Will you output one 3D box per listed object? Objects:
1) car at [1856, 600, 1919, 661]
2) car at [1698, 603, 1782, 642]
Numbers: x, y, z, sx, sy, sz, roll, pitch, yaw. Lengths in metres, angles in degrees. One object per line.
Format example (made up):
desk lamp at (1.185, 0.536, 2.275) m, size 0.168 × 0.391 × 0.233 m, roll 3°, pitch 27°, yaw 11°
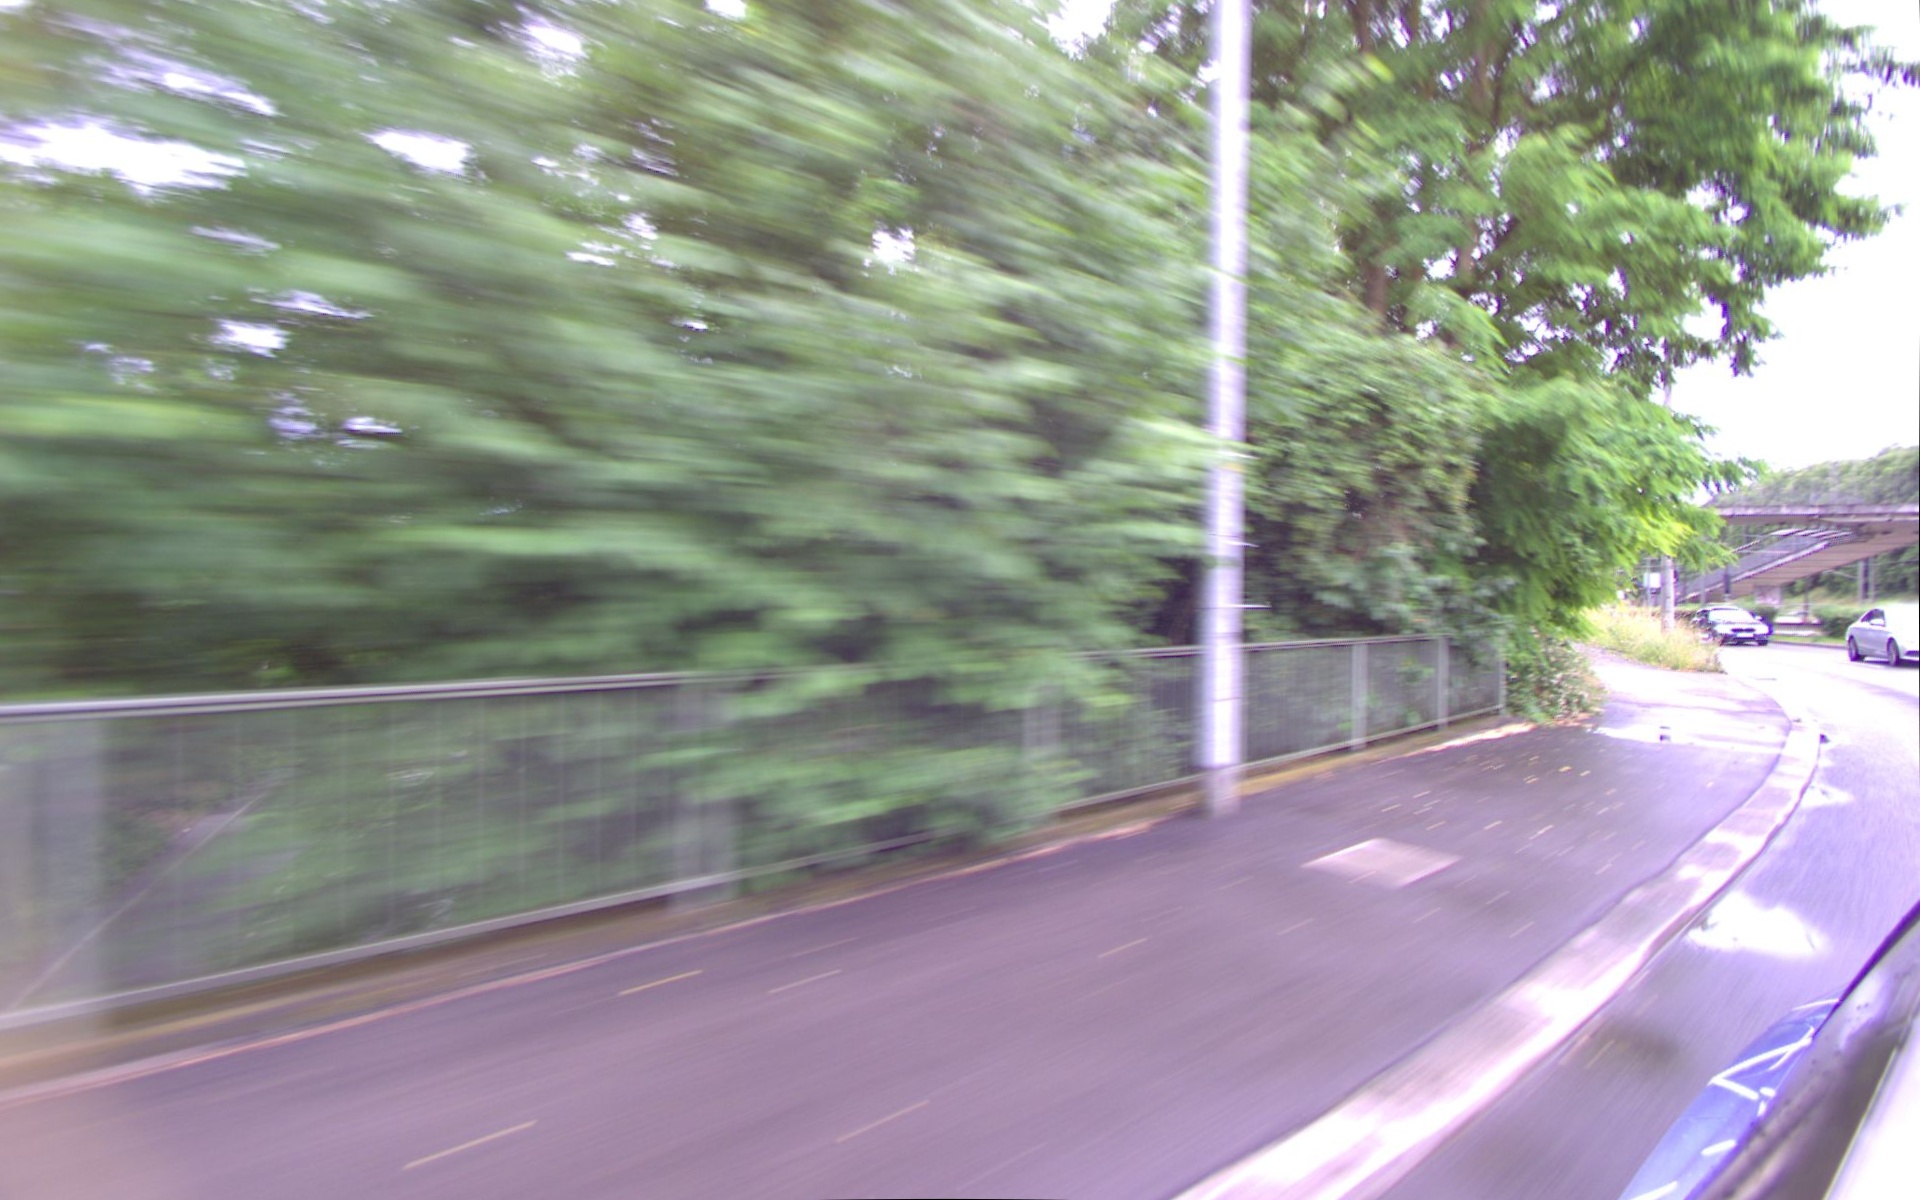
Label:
car at (23.202, 0.692, 24.048) m, size 1.855 × 1.373 × 4.021 m, roll -1°, pitch -1°, yaw 27°
car at (29.937, 0.830, 38.965) m, size 1.719 × 1.369 × 3.966 m, roll 0°, pitch 0°, yaw 25°
